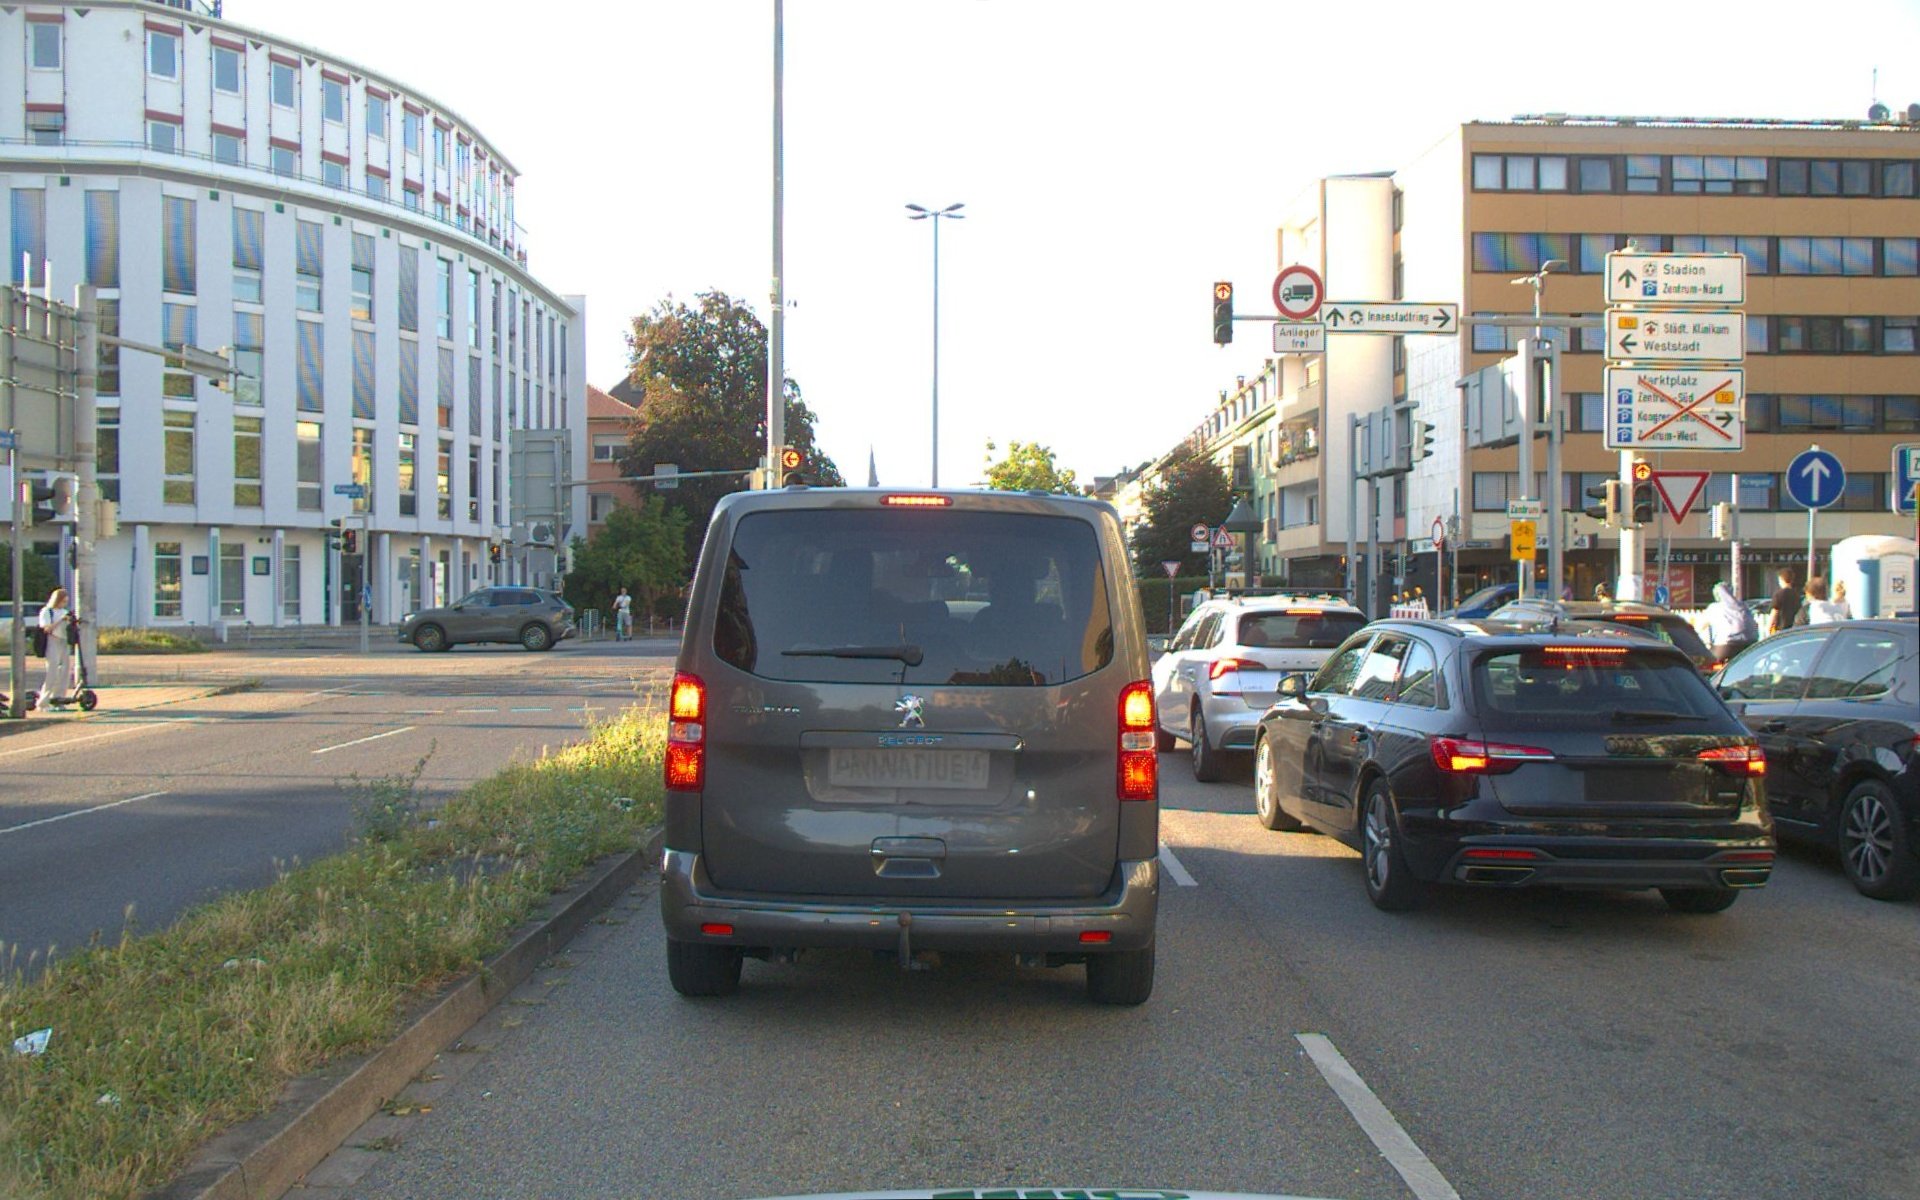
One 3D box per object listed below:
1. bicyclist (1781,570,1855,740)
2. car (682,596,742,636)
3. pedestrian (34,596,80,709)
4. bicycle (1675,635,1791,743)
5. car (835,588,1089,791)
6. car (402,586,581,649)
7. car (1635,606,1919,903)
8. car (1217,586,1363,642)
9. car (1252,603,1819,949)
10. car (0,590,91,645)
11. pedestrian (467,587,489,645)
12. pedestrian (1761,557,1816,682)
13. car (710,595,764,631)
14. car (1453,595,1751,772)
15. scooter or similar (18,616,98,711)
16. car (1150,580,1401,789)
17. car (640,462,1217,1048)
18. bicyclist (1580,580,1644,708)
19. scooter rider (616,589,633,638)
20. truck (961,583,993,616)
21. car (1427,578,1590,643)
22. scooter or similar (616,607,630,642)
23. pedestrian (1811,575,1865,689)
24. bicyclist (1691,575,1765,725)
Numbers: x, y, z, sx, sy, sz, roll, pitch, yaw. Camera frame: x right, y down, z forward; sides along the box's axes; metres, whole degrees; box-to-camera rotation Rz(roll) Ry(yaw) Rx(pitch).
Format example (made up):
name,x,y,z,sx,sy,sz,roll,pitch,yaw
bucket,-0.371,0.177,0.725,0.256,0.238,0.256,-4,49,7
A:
name,x,y,z,sx,sy,sz,roll,pitch,yaw
bicyclist,7.976,0.499,15.388,0.432,1.552,0.482,0,0,-1
car,-9.309,0.572,62.385,1.819,1.445,3.998,0,0,-2
pedestrian,-12.299,0.707,22.526,0.466,1.532,0.334,0,0,-13
bicycle,8.134,0.910,17.466,0.329,1.025,1.855,0,0,-1
car,-0.014,0.683,14.777,1.953,1.557,3.999,0,0,-1
car,-12.143,0.441,43.128,4.257,1.576,1.785,0,0,-8
car,5.633,0.803,9.892,1.600,1.474,3.744,1,0,-1
car,9.172,0.379,46.027,3.610,1.412,1.691,-1,0,-13
car,2.883,0.774,9.310,1.647,1.446,4.213,1,0,-1
car,-26.014,0.461,44.847,3.911,1.445,1.785,0,0,-7
pedestrian,-14.801,0.485,50.843,0.615,1.752,0.669,0,0,-15
pedestrian,12.505,0.289,24.955,0.560,1.866,0.485,0,0,-16
car,-9.115,0.506,67.950,1.819,1.445,3.998,0,0,-2
car,5.865,0.693,15.492,1.474,1.474,3.304,0,0,-1
scooter or similar,-12.191,0.849,22.374,0.877,1.255,0.370,0,0,-12
car,2.736,0.671,15.095,1.498,1.641,3.744,1,0,-1
car,-0.134,0.506,7.721,1.868,1.896,4.525,1,0,-1
bicyclist,8.067,0.537,20.483,0.503,1.552,0.725,0,0,-1
scooter rider,-11.846,0.480,58.325,0.471,1.727,0.636,0,0,-1
truck,1.133,-0.029,110.492,2.084,2.123,4.632,0,0,1
car,16.147,0.286,48.804,4.138,1.849,1.996,0,0,-9
scooter or similar,-11.851,0.841,58.214,0.279,1.209,1.169,0,0,-1
pedestrian,13.298,0.472,25.049,0.593,1.700,0.451,0,0,-21
bicyclist,8.139,0.518,17.549,0.432,1.552,0.725,0,0,-1
